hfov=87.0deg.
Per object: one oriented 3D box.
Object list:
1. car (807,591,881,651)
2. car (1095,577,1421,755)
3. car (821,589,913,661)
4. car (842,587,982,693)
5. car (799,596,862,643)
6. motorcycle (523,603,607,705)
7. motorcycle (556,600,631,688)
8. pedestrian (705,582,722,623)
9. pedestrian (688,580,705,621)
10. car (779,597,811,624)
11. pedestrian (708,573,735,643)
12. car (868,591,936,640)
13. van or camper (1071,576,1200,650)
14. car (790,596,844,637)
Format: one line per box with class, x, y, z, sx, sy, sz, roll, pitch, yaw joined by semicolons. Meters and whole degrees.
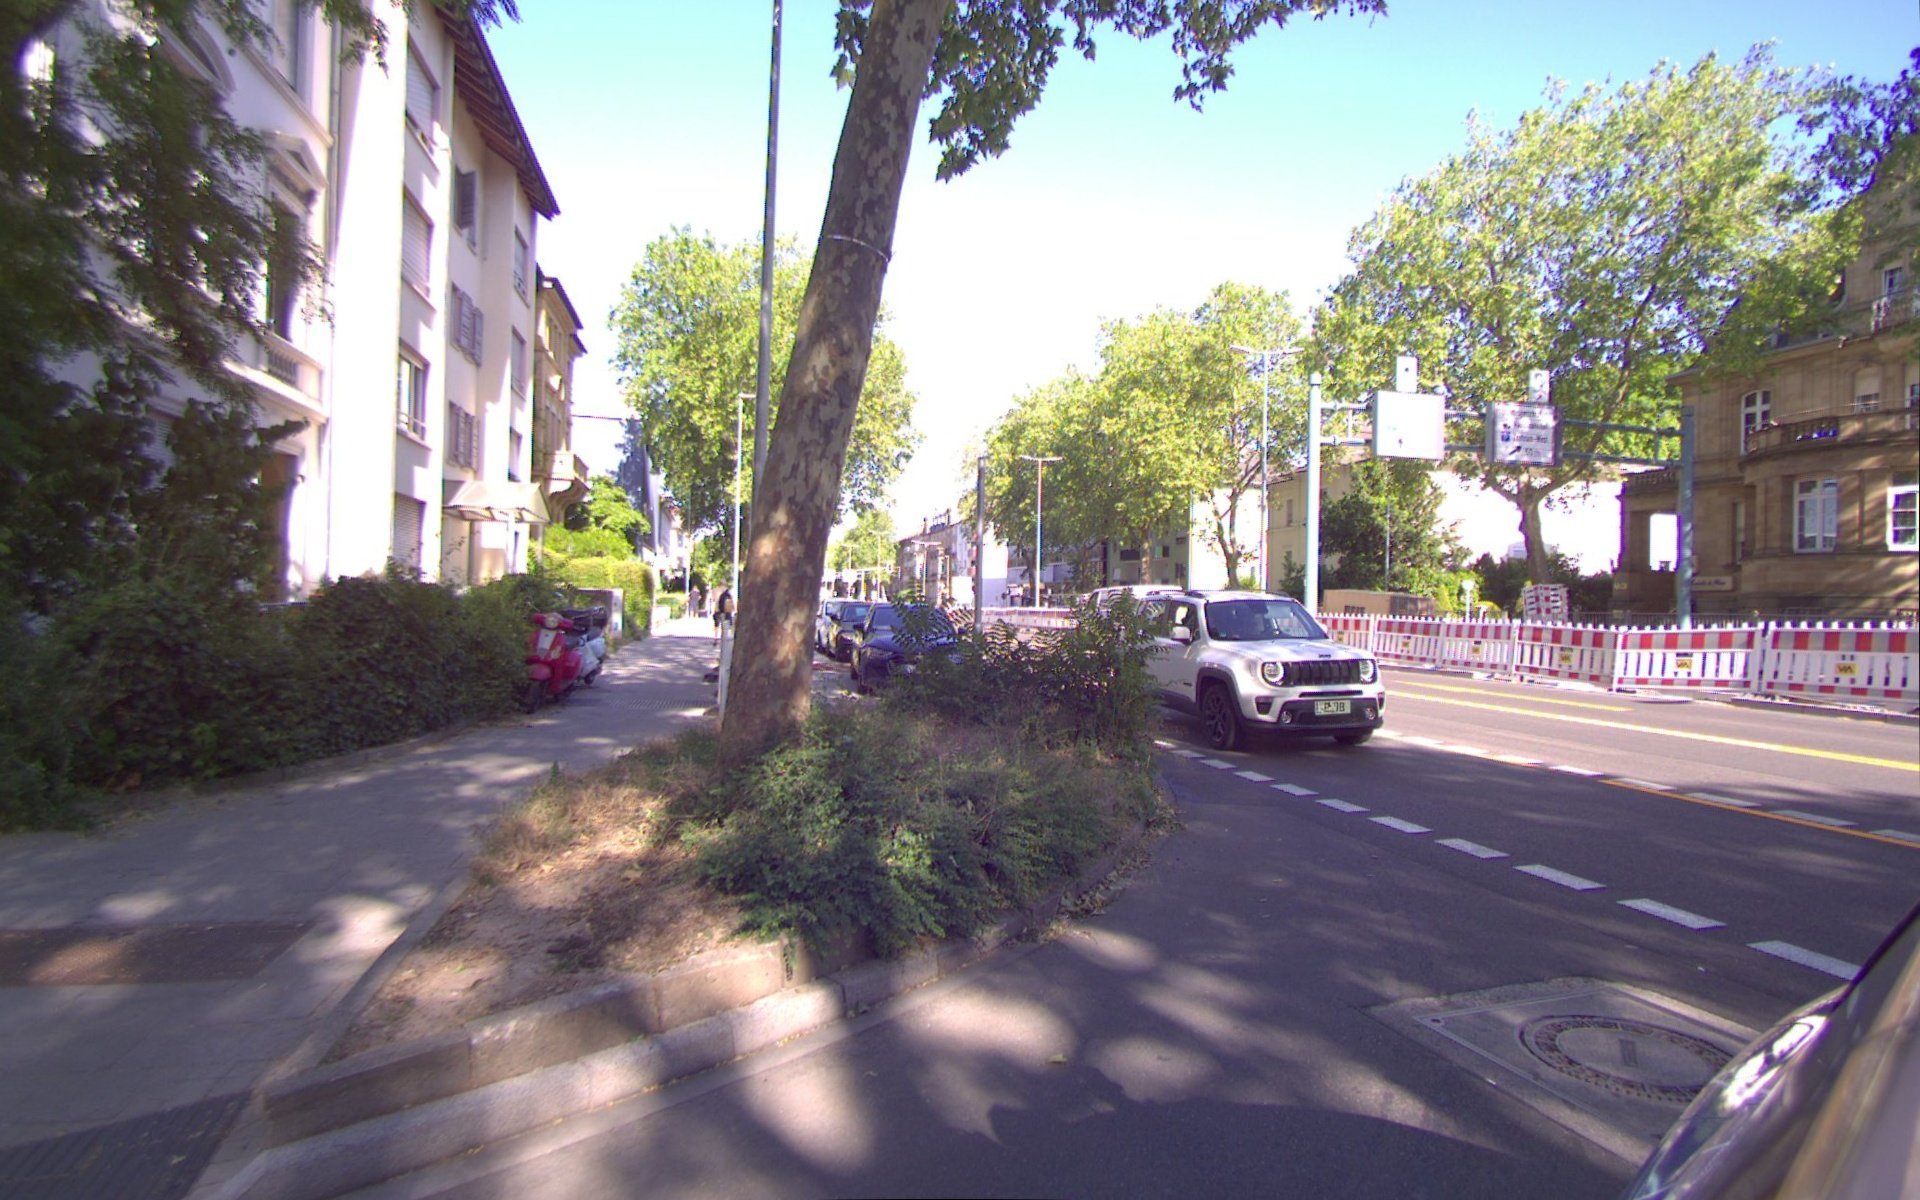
car;-3.314;0.553;28.286;1.591;1.505;3.741;3;-1;-13
car;3.314;0.643;12.351;1.830;1.748;4.515;0;0;-13
car;-2.283;0.551;23.991;1.591;1.505;4.064;3;-1;-13
car;-0.937;0.594;17.030;1.591;1.505;4.105;3;-1;-13
car;-4.441;0.614;34.329;1.686;1.430;4.056;3;-1;-13
motorcycle;-4.988;0.651;12.879;0.586;1.201;1.557;1;0;-6
motorcycle;-5.286;0.600;14.687;0.586;1.201;1.805;1;0;-6
pedestrian;-11.109;0.102;45.663;0.684;1.819;0.716;2;-1;-13
pedestrian;-11.855;0.036;45.548;0.684;1.819;0.803;2;-1;-13
car;-9.946;0.609;60.780;1.640;1.537;4.005;2;0;-13
pedestrian;-6.561;0.211;27.839;0.653;1.873;0.695;2;-1;-12
car;-2.256;0.544;38.239;1.830;1.748;4.515;0;0;-13
van or camper;5.198;0.349;30.782;1.958;2.039;5.338;0;0;-13
car;-5.787;0.608;40.494;1.686;1.430;4.484;4;-1;-13
